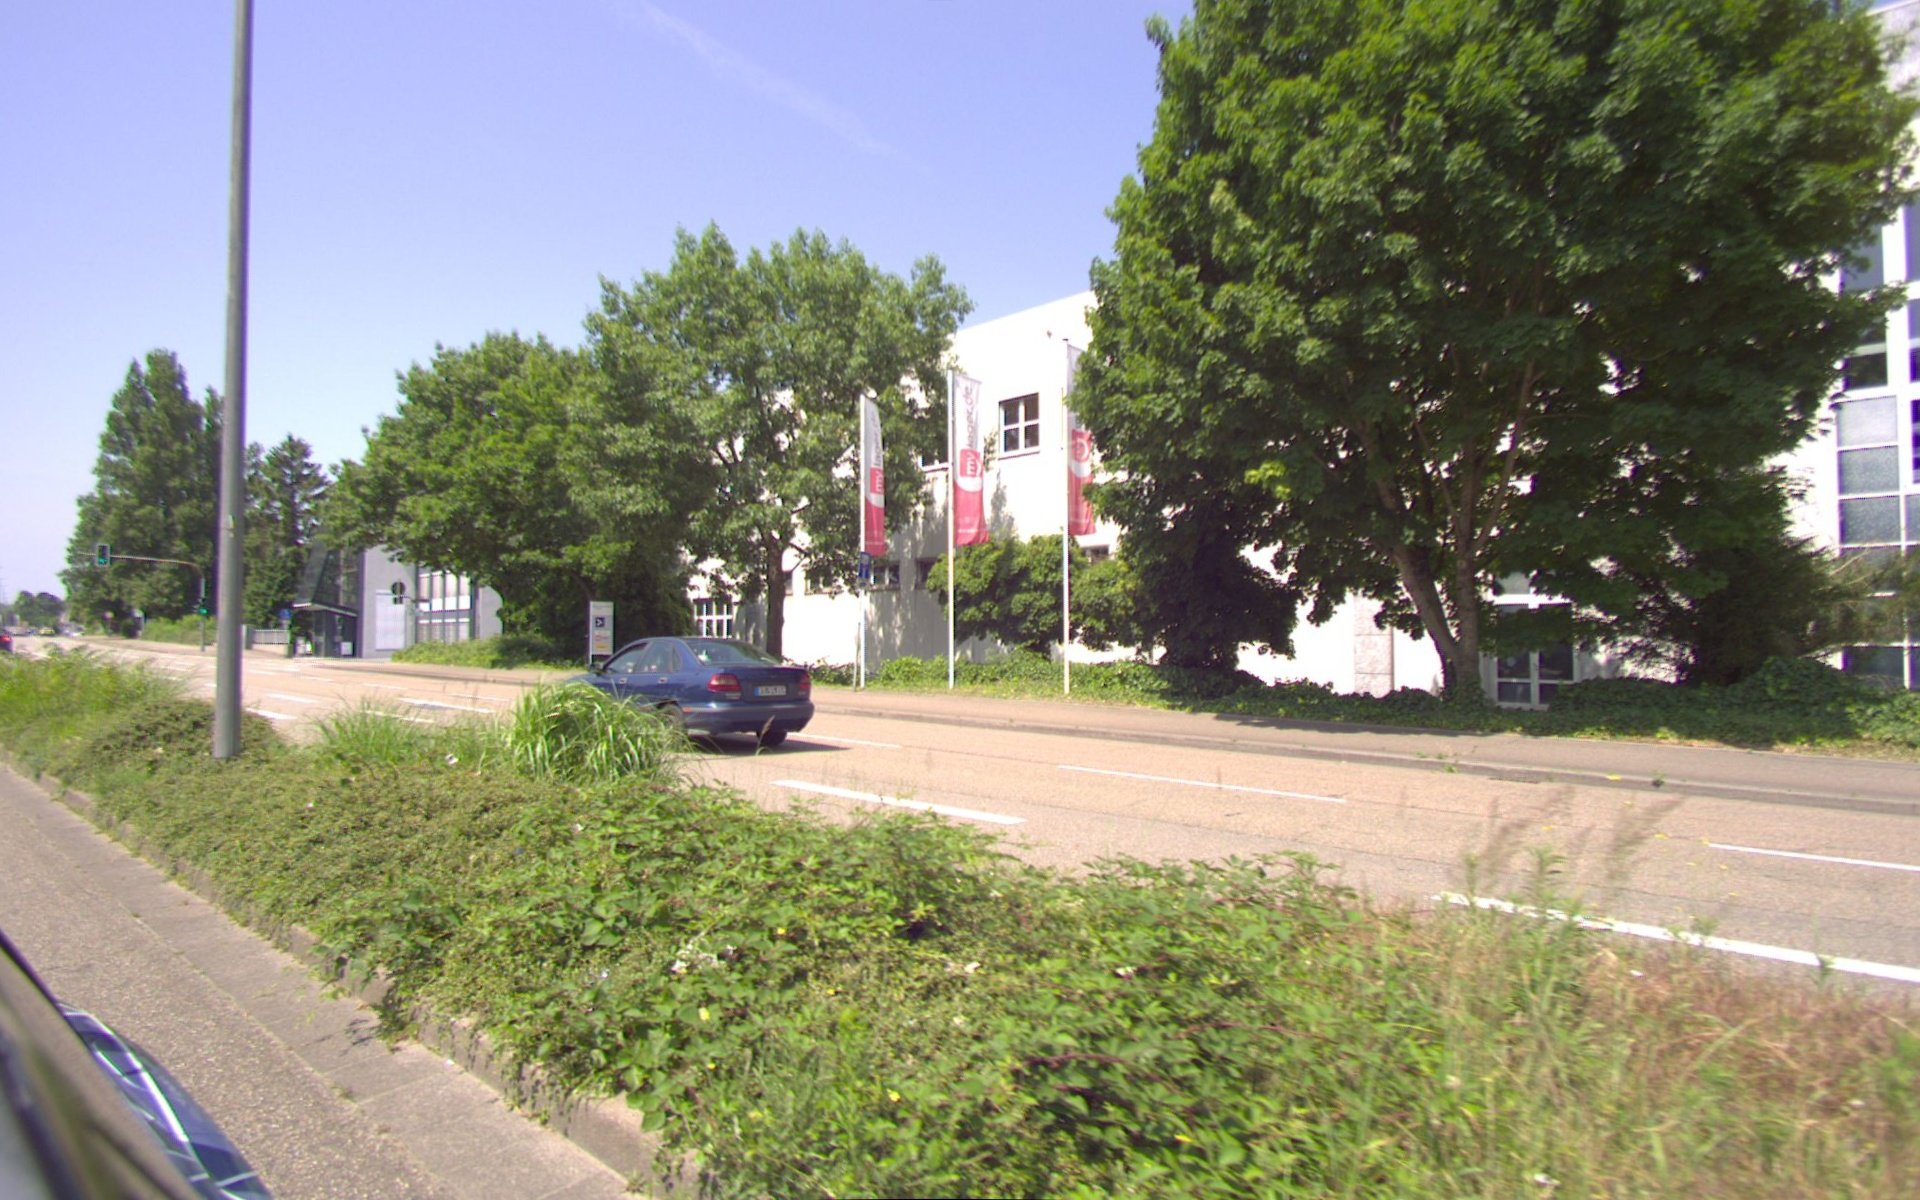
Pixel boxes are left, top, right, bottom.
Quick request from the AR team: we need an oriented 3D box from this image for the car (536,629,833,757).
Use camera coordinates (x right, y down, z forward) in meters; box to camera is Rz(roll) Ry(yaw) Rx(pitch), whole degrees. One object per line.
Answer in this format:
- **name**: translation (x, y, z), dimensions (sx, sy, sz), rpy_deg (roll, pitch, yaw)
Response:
- **car**: translation (-3.749, 1.130, 13.379), dimensions (4.244, 1.427, 1.704), rpy_deg (-1, -4, 41)

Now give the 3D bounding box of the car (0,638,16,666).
- **car**: translation (-49.146, 2.622, 51.127), dimensions (4.148, 1.334, 1.710), rpy_deg (-1, -3, 42)

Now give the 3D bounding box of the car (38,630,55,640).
- **car**: translation (-154.425, 5.877, 171.056), dimensions (4.288, 1.572, 1.872), rpy_deg (-1, -4, 44)

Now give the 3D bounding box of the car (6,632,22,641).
- **car**: translation (-160.965, 6.209, 172.195), dimensions (4.092, 1.429, 1.740), rpy_deg (-2, -4, 43)
